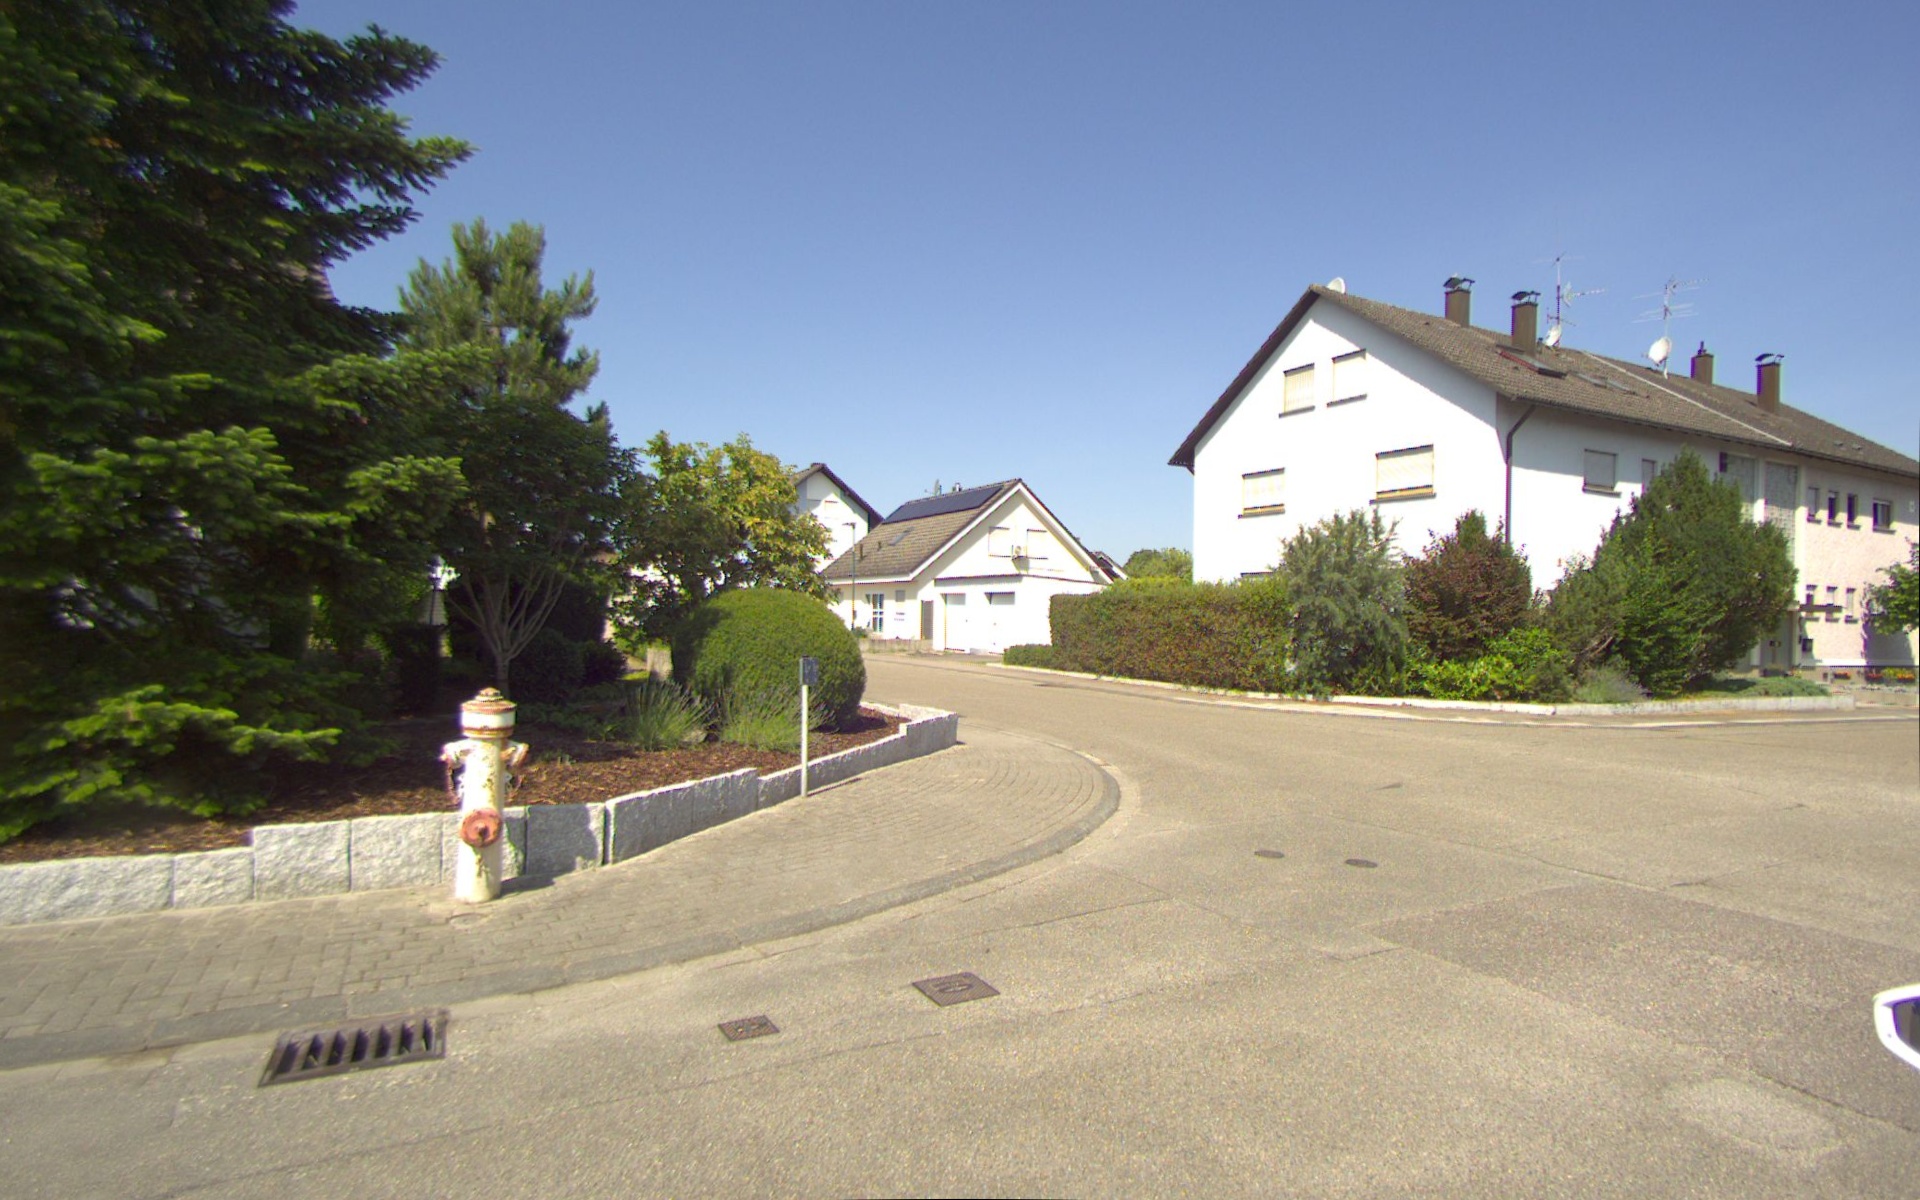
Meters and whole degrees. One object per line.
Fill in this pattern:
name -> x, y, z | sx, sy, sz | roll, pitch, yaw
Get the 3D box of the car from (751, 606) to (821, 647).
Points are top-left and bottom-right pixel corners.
car -> -7.357, 1.081, 42.199 | 1.628, 1.498, 3.970 | 3, -1, -29
